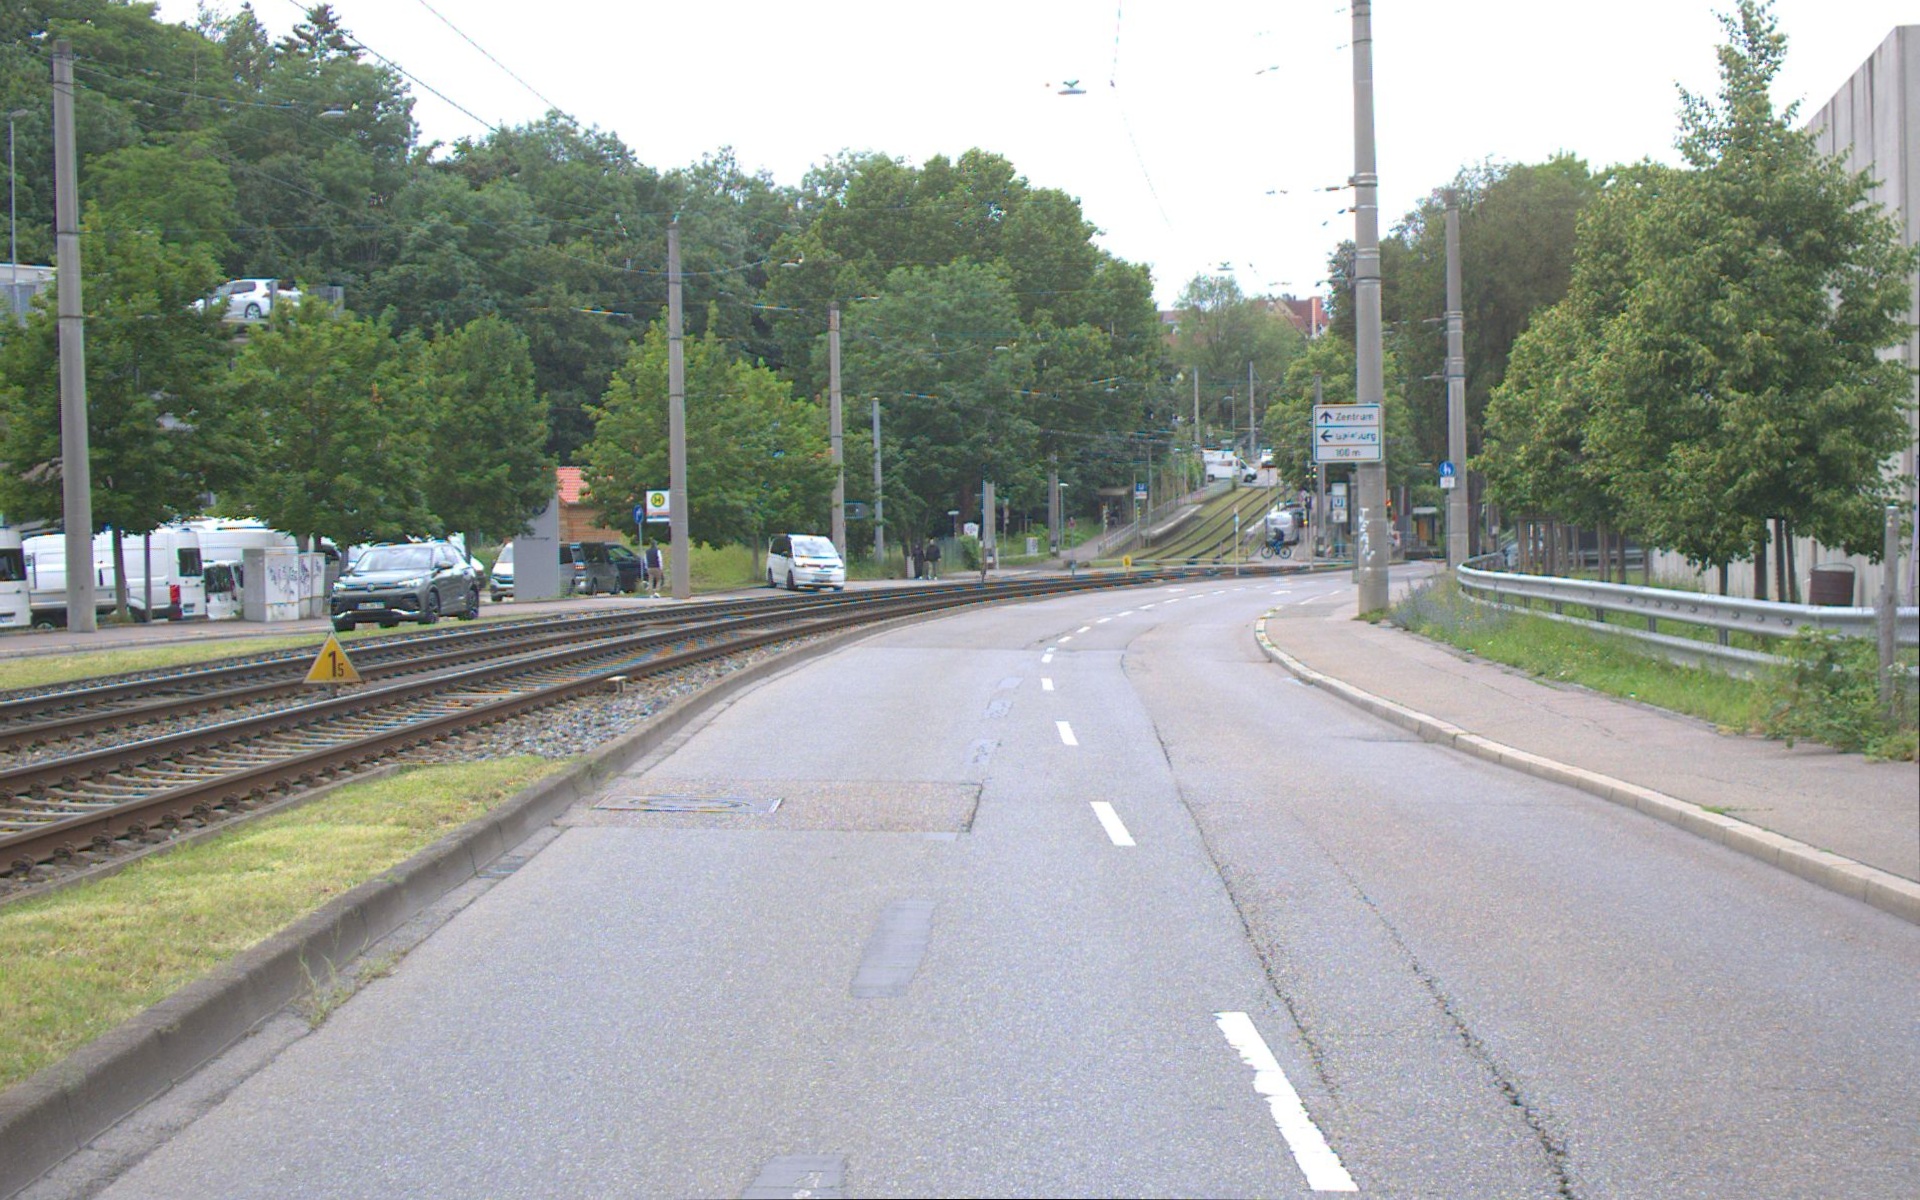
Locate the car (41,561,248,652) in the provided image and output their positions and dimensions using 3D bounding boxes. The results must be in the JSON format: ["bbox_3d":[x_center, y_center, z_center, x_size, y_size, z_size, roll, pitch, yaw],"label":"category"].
[{"bbox_3d":[-19.382,0.138,81.826,4.366,2.098,2.004,0,1,6],"label":"car"}]

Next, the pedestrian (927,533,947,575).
[{"bbox_3d":[-0.998,-1.979,148.370,0.677,1.807,0.855,1,1,13],"label":"pedestrian"}]

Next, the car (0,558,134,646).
[{"bbox_3d":[-21.053,0.043,77.361,4.366,1.904,2.004,0,1,6],"label":"car"}]

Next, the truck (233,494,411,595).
[{"bbox_3d":[-19.990,-1.716,107.513,5.933,3.074,2.115,0,1,39],"label":"truck"}]

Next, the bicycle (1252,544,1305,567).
[{"bbox_3d":[18.922,-2.647,204.331,2.986,1.339,0.827,-1,1,-7],"label":"bicycle"}]

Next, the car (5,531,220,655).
[{"bbox_3d":[-19.602,-0.175,79.604,4.366,2.809,2.004,0,1,6],"label":"car"}]

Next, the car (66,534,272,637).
[{"bbox_3d":[-19.427,-0.372,84.559,4.367,2.098,2.004,5,2,6],"label":"car"}]

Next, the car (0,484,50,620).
[{"bbox_3d":[-21.184,-0.958,69.413,4.967,2.689,2.115,0,1,6],"label":"car"}]

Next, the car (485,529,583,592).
[{"bbox_3d":[-14.001,-1.329,113.233,1.994,2.007,4.918,-1,1,8],"label":"car"}]

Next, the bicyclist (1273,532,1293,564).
[{"bbox_3d":[19.201,-3.097,204.360,1.048,1.843,0.824,-1,1,-7],"label":"bicyclist"}]

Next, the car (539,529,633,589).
[{"bbox_3d":[-12.939,-1.454,119.193,1.994,2.007,5.128,-1,1,8],"label":"car"}]

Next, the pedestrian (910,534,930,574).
[{"bbox_3d":[-1.731,-1.996,148.405,0.628,1.707,0.855,1,1,13],"label":"pedestrian"}]

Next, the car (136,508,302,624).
[{"bbox_3d":[-19.893,-0.945,92.631,2.109,3.009,5.934,-1,1,12],"label":"car"}]

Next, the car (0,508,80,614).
[{"bbox_3d":[-20.911,-0.810,71.997,4.366,2.165,2.004,0,1,6],"label":"car"}]

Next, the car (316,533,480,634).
[{"bbox_3d":[-10.452,-0.312,64.237,1.994,1.733,4.533,-3,0,4],"label":"car"}]

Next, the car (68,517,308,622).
[{"bbox_3d":[-19.583,-0.776,87.317,5.475,2.593,2.246,0,1,10],"label":"car"}]

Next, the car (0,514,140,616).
[{"bbox_3d":[-20.231,-0.752,74.460,4.366,2.165,2.004,0,1,6],"label":"car"}]

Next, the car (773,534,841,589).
[{"bbox_3d":[-5.521,-1.403,123.520,2.159,1.881,5.074,1,1,-5],"label":"car"}]

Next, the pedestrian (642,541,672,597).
[{"bbox_3d":[-9.225,-0.955,104.704,0.718,1.650,1.042,2,1,3],"label":"pedestrian"}]
